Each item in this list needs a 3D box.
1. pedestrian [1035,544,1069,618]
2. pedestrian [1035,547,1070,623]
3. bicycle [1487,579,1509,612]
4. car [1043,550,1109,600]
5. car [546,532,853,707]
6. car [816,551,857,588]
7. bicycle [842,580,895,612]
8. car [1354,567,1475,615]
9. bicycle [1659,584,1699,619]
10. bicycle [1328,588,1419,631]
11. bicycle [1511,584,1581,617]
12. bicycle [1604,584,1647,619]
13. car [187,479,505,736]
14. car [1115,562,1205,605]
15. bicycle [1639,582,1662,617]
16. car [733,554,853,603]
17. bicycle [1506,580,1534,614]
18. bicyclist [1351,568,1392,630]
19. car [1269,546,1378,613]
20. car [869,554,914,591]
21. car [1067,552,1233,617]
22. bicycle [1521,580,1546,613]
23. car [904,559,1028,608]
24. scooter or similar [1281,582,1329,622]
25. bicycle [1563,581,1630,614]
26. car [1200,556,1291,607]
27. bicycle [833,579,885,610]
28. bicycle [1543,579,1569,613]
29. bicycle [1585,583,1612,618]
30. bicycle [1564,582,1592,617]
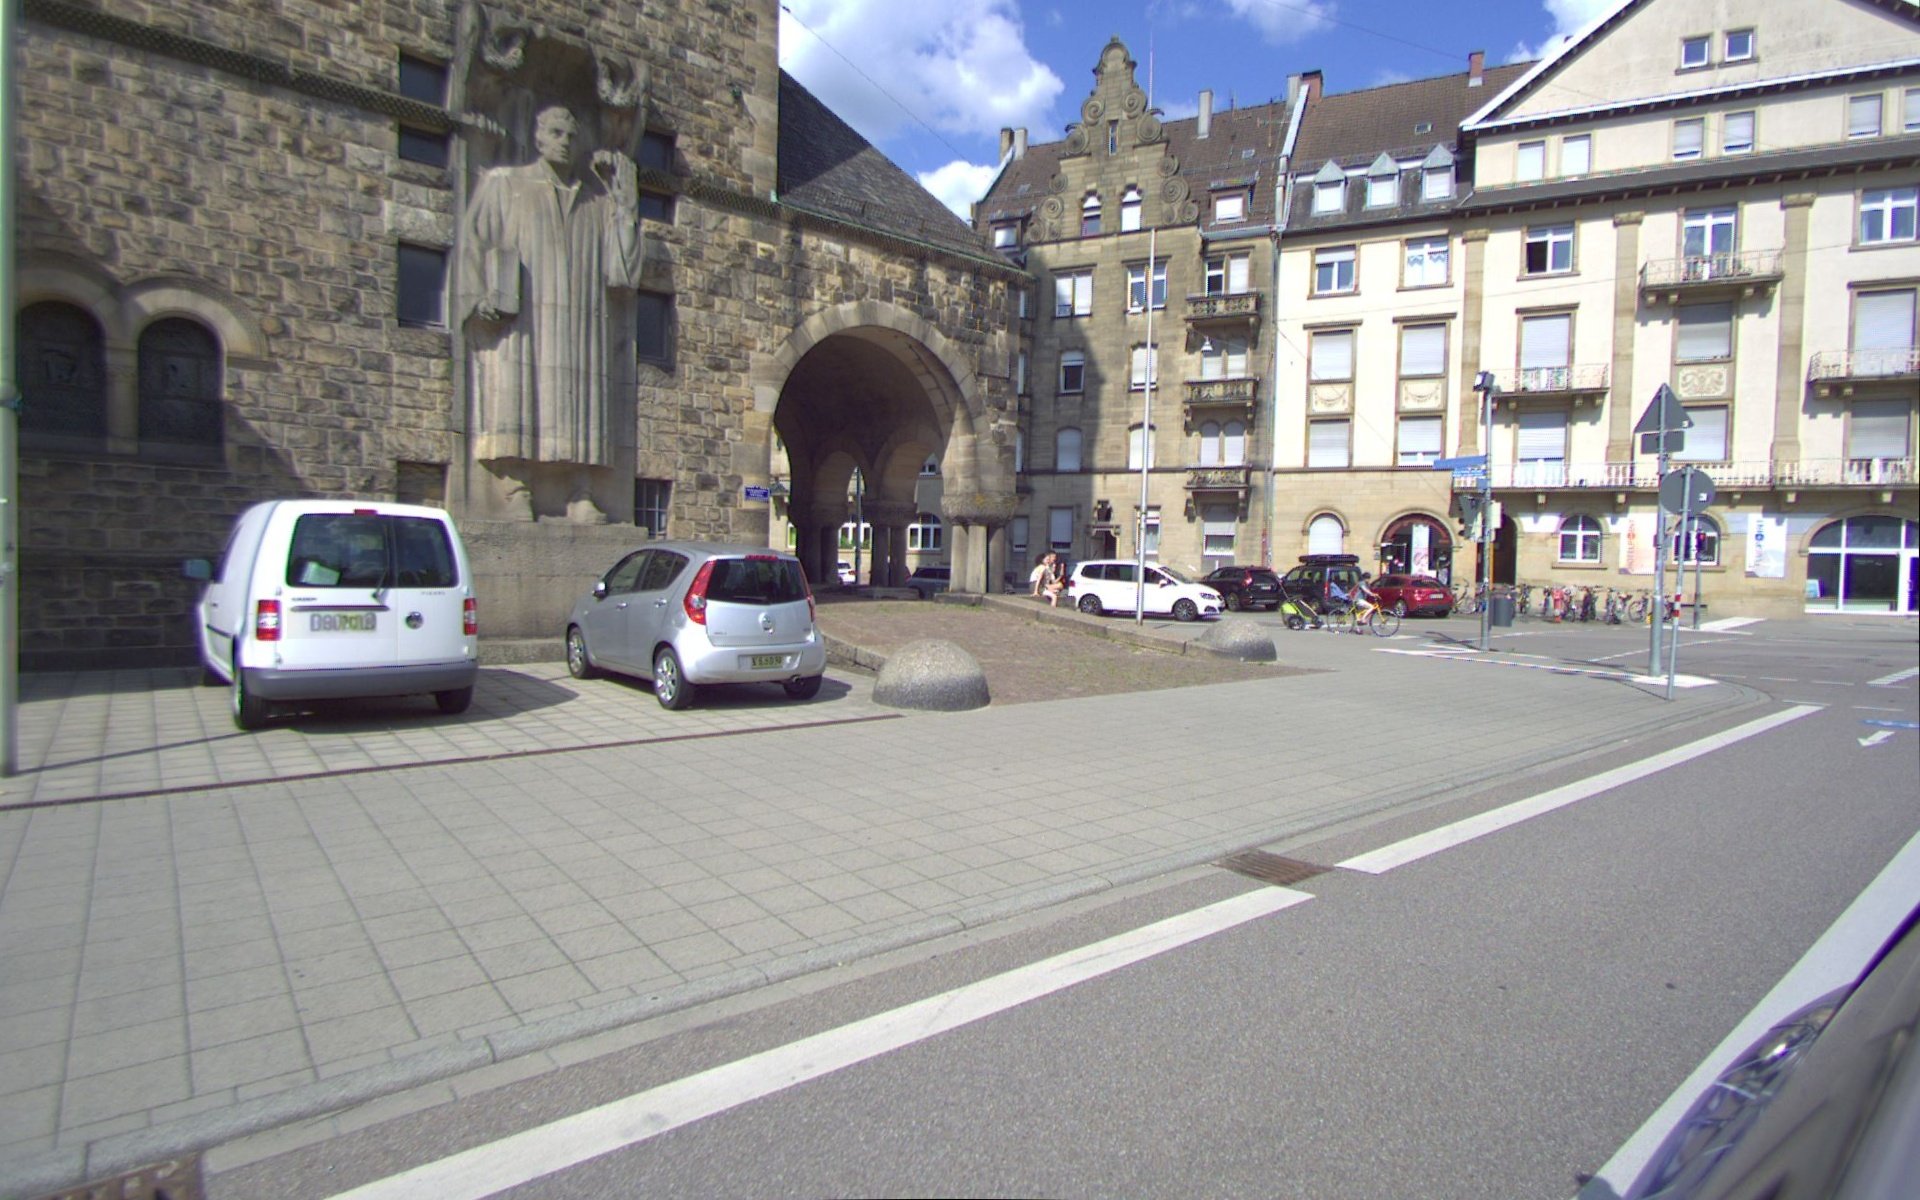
[{"bbox_3d":[1.872,-0.389,20.640,0.508,1.423,0.558,7,4,3],"label":"pedestrian"},{"bbox_3d":[1.828,-0.307,20.077,0.508,1.423,0.558,7,4,3],"label":"pedestrian"},{"bbox_3d":[19.025,-0.179,35.835,0.534,1.030,1.914,2,5,24],"label":"bicycle"},{"bbox_3d":[4.740,-1.086,41.884,1.878,1.846,4.008,0,4,-5],"label":"car"},{"bbox_3d":[-2.978,0.096,11.059,1.766,1.566,3.774,0,2,-41],"label":"car"},{"bbox_3d":[-5.741,-1.439,46.772,1.573,1.518,3.786,0,4,-11],"label":"car"},{"bbox_3d":[-2.239,-0.099,24.925,1.343,0.750,0.338,0,2,-42],"label":"bicycle"},{"bbox_3d":[16.098,-0.376,36.113,1.927,1.458,4.011,0,4,-11],"label":"car"},{"bbox_3d":[23.882,0.025,33.635,0.603,1.030,1.864,2,4,22],"label":"bicycle"},{"bbox_3d":[10.570,0.231,25.918,2.109,1.001,0.648,2,2,22],"label":"bicycle"},{"bbox_3d":[19.172,0.014,33.134,1.897,1.030,0.539,1,4,9],"label":"bicycle"},{"bbox_3d":[21.841,0.031,33.203,1.843,1.030,0.602,-3,5,-39],"label":"bicycle"},{"bbox_3d":[-5.840,-0.033,9.393,1.831,1.846,4.009,0,2,-42],"label":"car"},{"bbox_3d":[7.898,-0.693,40.422,1.876,1.461,4.012,-1,5,-16],"label":"car"},{"bbox_3d":[23.214,-0.036,34.040,0.606,1.030,1.855,3,5,34],"label":"bicycle"},{"bbox_3d":[-6.027,-0.789,36.558,4.029,1.616,1.689,2,2,25],"label":"car"},{"bbox_3d":[19.211,-0.115,34.764,0.534,1.030,1.917,2,5,21],"label":"bicycle"},{"bbox_3d":[10.544,-0.038,25.929,0.911,1.522,0.648,2,1,21],"label":"bicyclist"},{"bbox_3d":[13.448,-0.826,37.725,1.927,2.105,4.013,0,7,-11],"label":"car"},{"bbox_3d":[-3.133,-1.284,45.631,1.573,1.473,3.786,0,4,-11],"label":"car"},{"bbox_3d":[5.706,-0.500,30.513,4.615,1.761,1.800,2,2,25],"label":"car"},{"bbox_3d":[20.170,-0.144,35.614,0.534,1.030,1.914,2,5,24],"label":"bicycle"},{"bbox_3d":[0.198,-0.566,33.103,3.697,1.468,1.661,2,2,25],"label":"car"},{"bbox_3d":[8.978,0.038,26.324,1.117,0.989,0.884,2,2,21],"label":"scooter or similar"},{"bbox_3d":[22.151,-0.103,35.254,1.912,1.030,0.535,3,5,29],"label":"bicycle"},{"bbox_3d":[10.848,-0.758,38.776,1.675,1.688,4.011,0,4,-11],"label":"car"},{"bbox_3d":[-2.516,-0.141,25.261,1.343,0.750,0.338,0,2,-42],"label":"bicycle"},{"bbox_3d":[20.797,-0.148,35.337,0.534,1.030,1.914,2,5,24],"label":"bicycle"},{"bbox_3d":[21.339,-0.007,33.806,0.538,1.030,1.902,3,5,39],"label":"bicycle"},{"bbox_3d":[20.769,-0.028,33.981,0.538,1.030,1.902,3,5,39],"label":"bicycle"}]
